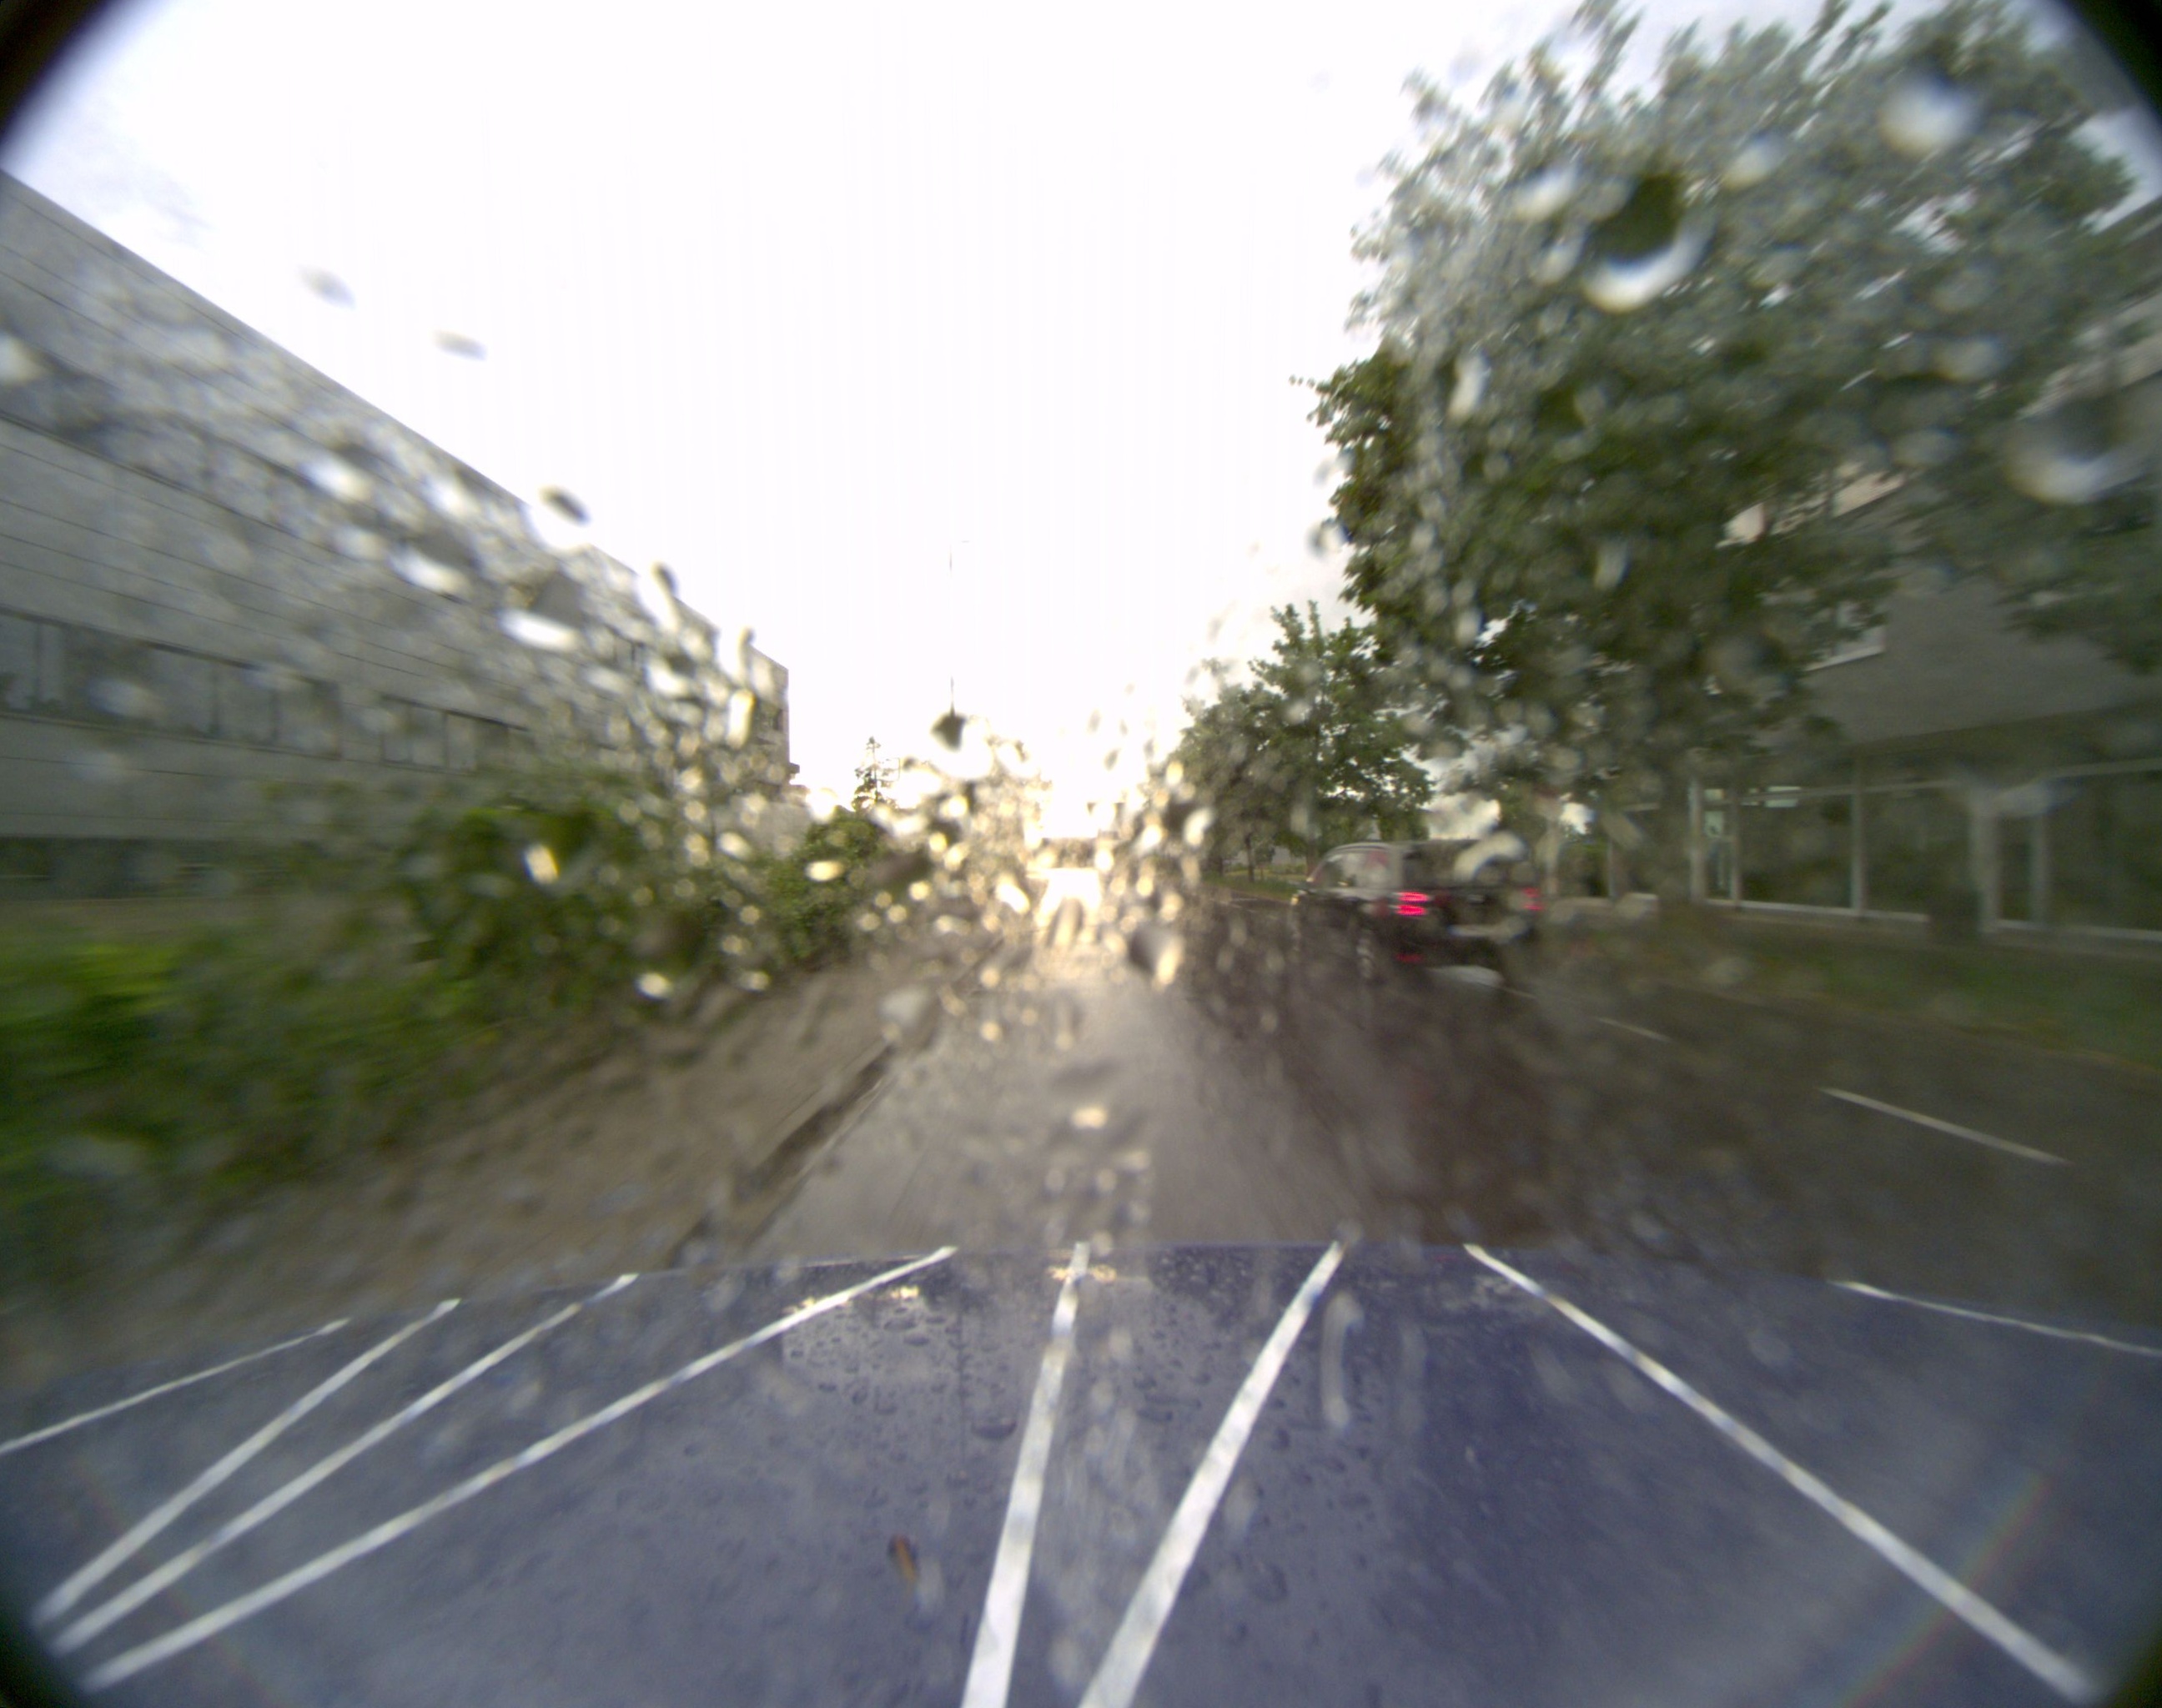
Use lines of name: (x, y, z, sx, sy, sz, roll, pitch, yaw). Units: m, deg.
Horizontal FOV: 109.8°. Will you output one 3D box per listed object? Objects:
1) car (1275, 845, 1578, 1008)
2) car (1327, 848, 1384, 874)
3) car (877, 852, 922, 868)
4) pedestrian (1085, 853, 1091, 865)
car: (3.971, 0.750, 9.718, 1.855, 1.545, 4.503, -2, -1, 1)
car: (20.578, 0.578, 57.303, 2.039, 1.811, 5.608, -2, -1, -2)
car: (-17.155, 0.593, 71.867, 3.891, 1.490, 1.768, -1, -1, -2)
pedestrian: (1.079, 0.723, 111.717, 0.747, 1.827, 0.889, 0, -1, -9)
